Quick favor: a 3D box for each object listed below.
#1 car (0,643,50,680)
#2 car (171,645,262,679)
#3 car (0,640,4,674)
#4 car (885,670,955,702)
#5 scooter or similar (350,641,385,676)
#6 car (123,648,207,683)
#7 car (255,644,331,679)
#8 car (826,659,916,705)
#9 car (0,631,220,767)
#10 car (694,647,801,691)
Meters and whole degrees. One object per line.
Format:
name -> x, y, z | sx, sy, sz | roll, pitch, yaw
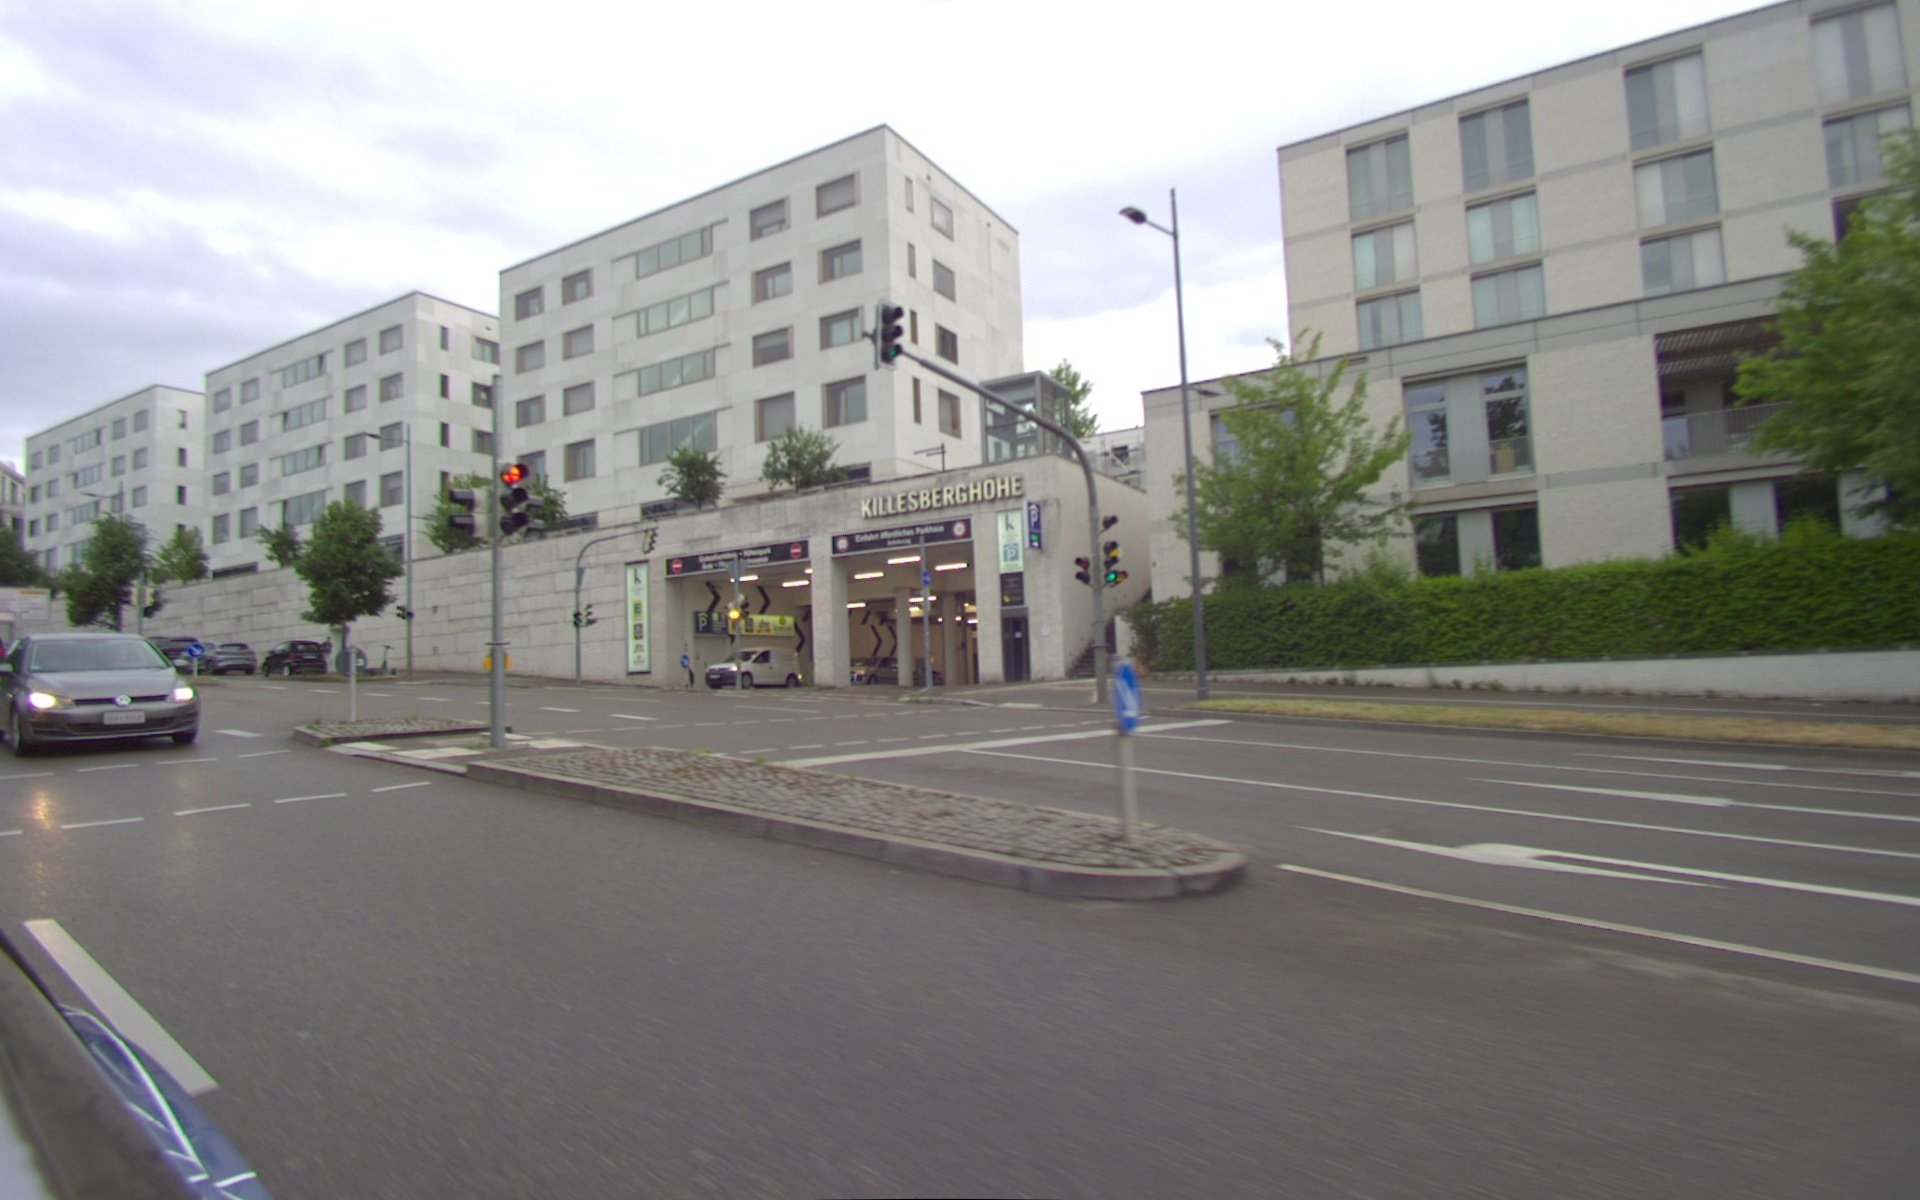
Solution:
car -> -55.013, 3.609, 58.926 | 4.371, 2.029, 1.905 | -4, -3, 32
car -> -34.159, 2.834, 46.489 | 3.982, 1.489, 1.845 | -2, -3, 29
car -> -54.305, 3.125, 55.311 | 4.435, 1.853, 1.944 | -2, -3, 33
car -> -1.988, 4.382, 51.931 | 1.602, 1.455, 4.156 | -2, -3, 30
scooter or similar -> -25.188, 2.474, 43.012 | 1.258, 1.479, 0.429 | 0, -3, -28
car -> -38.412, 3.131, 48.877 | 3.982, 1.644, 1.773 | -2, -3, 29
car -> -29.005, 2.652, 44.016 | 2.683, 1.470, 1.665 | -2, -3, 28
car -> -3.705, 3.403, 42.675 | 1.794, 1.785, 3.957 | -2, -3, 31
car -> -11.311, 1.161, 13.023 | 4.291, 1.452, 1.853 | -2, -2, 39
car -> -8.546, 2.772, 41.138 | 1.991, 1.664, 4.305 | -2, -3, 28
